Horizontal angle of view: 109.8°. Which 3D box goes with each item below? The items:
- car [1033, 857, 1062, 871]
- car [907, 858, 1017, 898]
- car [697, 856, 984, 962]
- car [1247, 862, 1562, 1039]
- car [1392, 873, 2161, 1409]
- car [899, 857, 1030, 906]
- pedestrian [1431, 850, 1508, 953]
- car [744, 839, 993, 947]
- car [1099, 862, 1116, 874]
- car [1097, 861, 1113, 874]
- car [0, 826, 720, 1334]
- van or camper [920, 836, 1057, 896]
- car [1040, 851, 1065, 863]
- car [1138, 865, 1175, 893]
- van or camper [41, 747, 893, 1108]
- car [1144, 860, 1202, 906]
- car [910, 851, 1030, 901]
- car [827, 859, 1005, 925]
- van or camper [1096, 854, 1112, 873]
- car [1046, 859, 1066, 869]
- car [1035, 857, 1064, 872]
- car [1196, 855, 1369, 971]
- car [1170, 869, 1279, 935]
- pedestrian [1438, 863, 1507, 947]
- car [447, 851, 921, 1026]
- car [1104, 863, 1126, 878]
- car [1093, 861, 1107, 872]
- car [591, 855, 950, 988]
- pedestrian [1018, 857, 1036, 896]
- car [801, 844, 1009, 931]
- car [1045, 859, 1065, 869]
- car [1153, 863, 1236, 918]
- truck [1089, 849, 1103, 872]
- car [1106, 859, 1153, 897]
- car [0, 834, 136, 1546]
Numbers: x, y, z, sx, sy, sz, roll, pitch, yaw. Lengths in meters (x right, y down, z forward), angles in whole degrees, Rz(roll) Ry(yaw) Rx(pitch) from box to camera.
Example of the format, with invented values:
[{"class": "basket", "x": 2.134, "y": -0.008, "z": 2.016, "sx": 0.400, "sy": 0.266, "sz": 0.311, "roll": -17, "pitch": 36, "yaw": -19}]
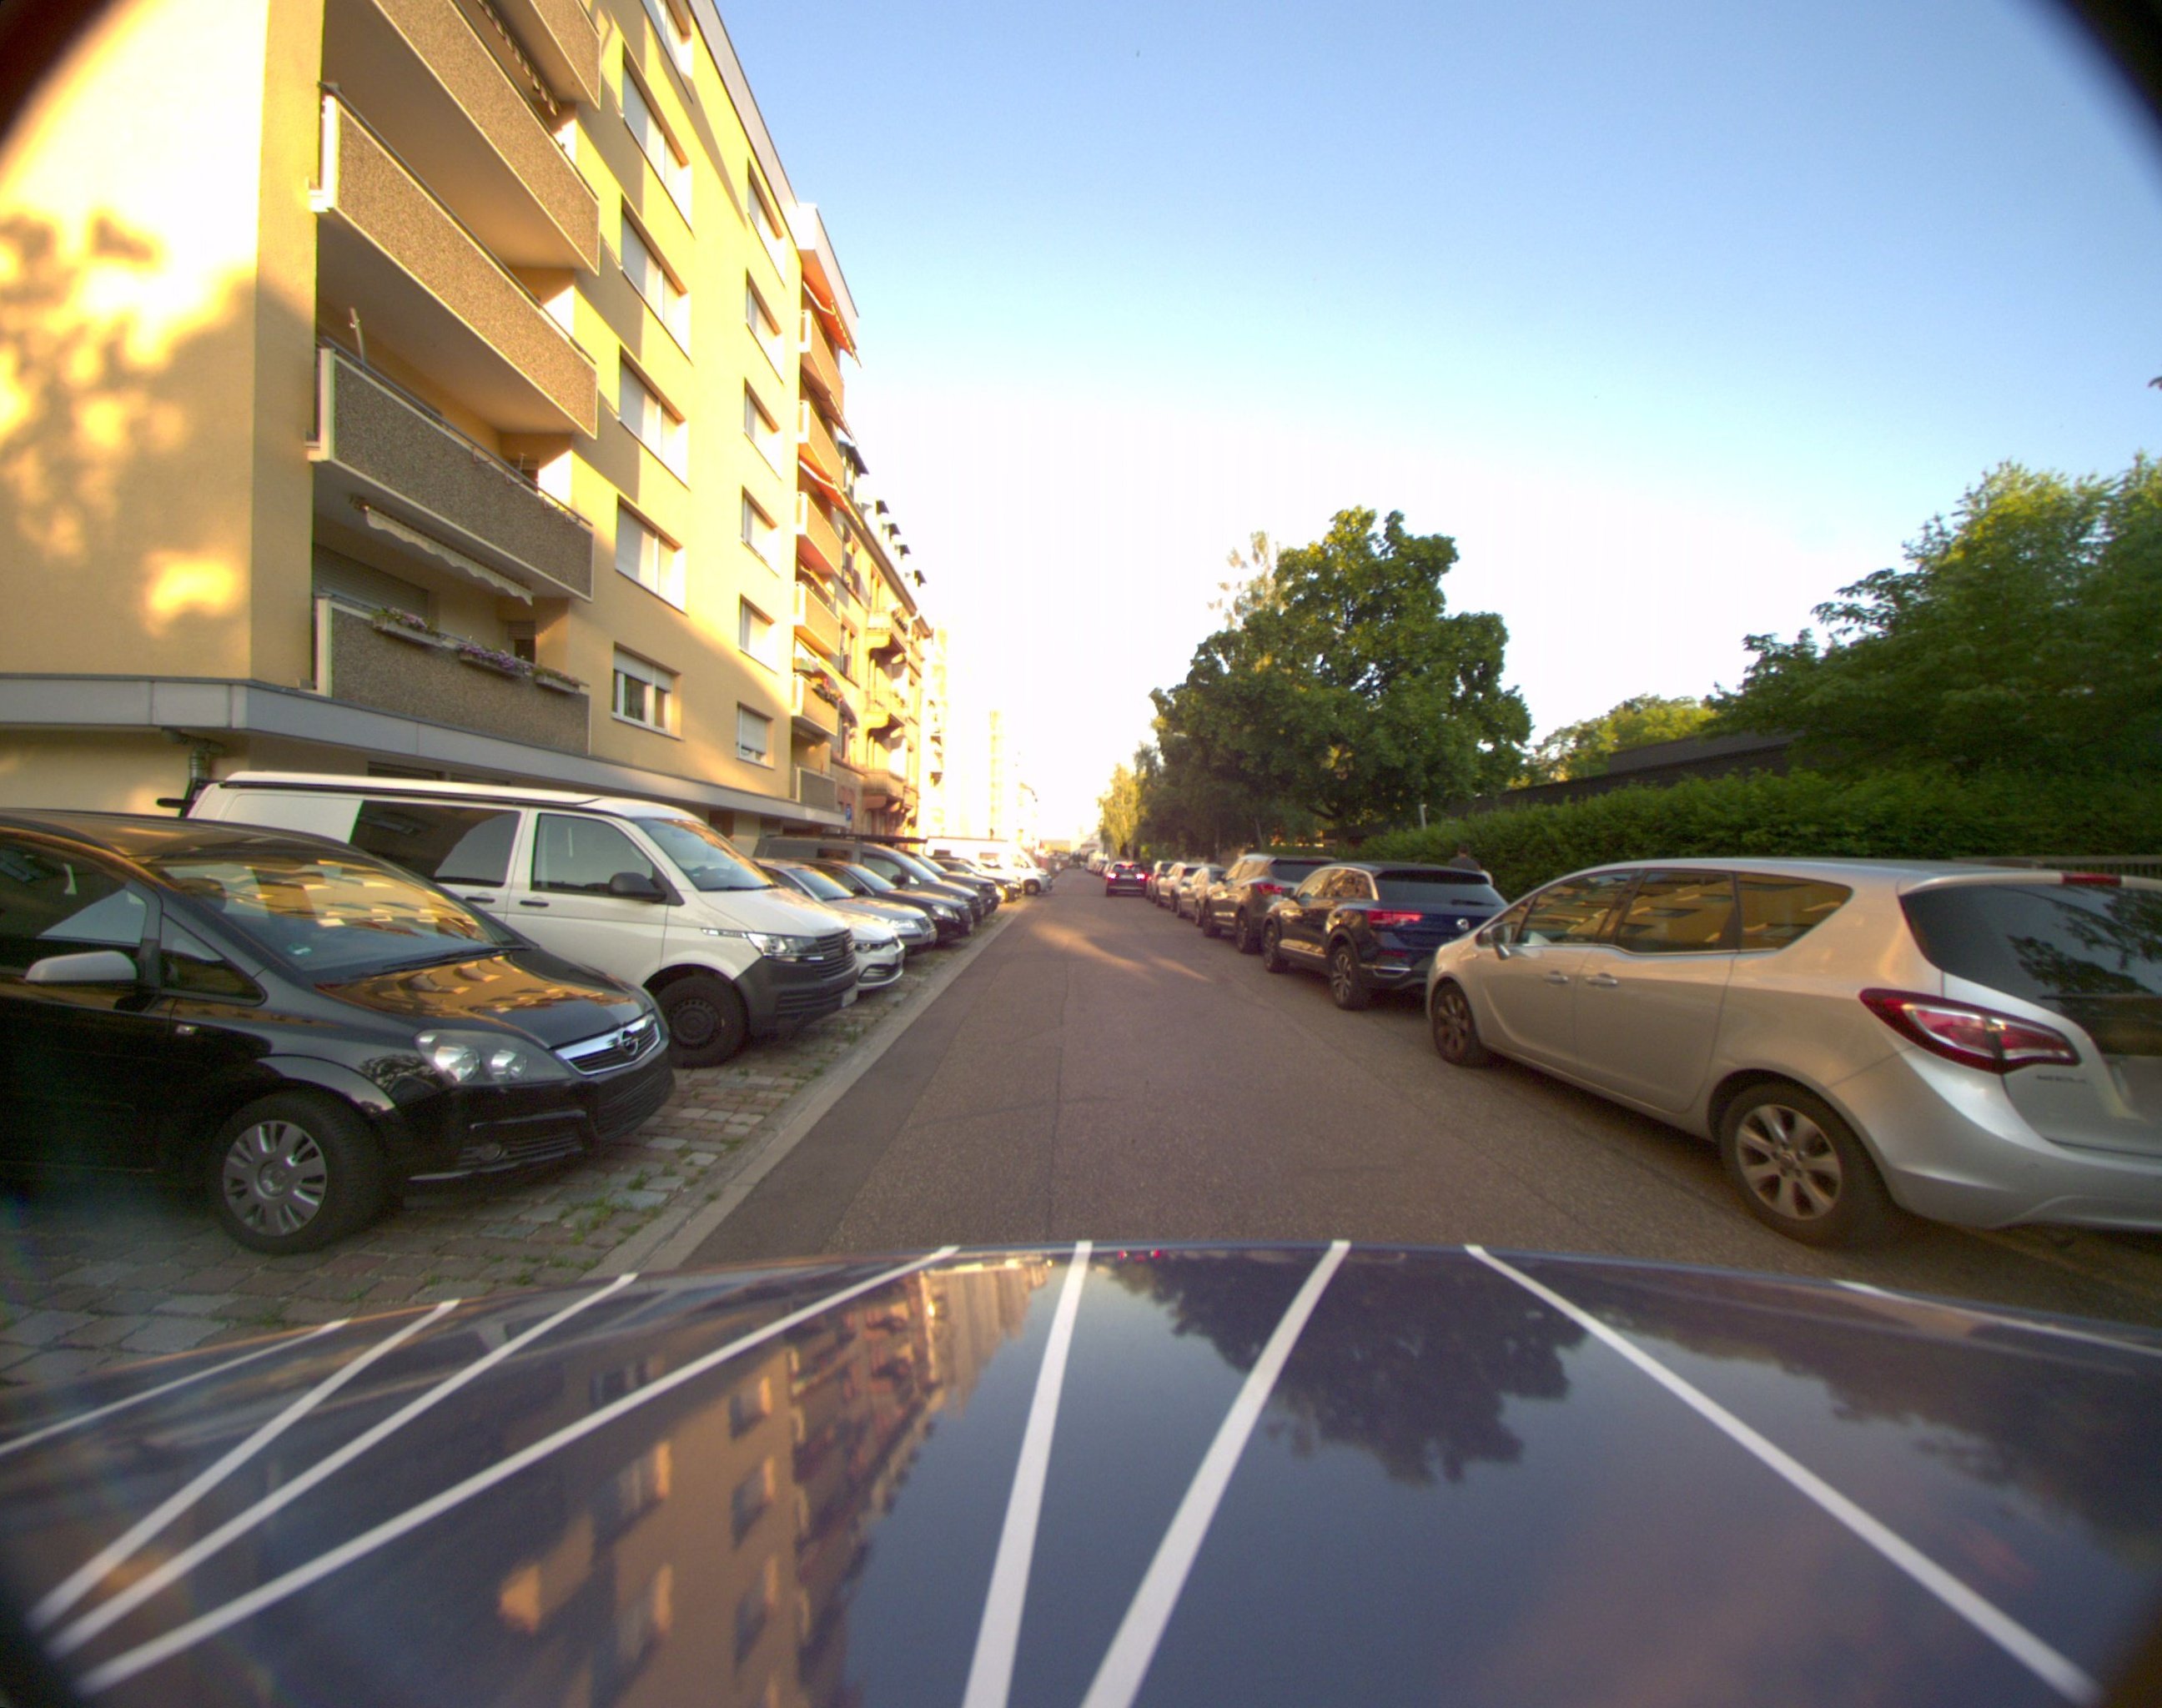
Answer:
[{"class": "car", "x": -4.828, "y": 1.464, "z": 109.780, "sx": 3.997, "sy": 2.002, "sz": 2.000, "roll": 0, "pitch": 0, "yaw": -1}, {"class": "car", "x": -5.071, "y": 1.015, "z": 32.713, "sx": 4.414, "sy": 1.610, "sz": 1.845, "roll": 0, "pitch": 2, "yaw": 1}, {"class": "car", "x": -4.045, "y": 0.911, "z": 13.334, "sx": 4.415, "sy": 1.554, "sz": 1.845, "roll": 2, "pitch": 2, "yaw": -1}, {"class": "car", "x": 3.410, "y": 0.908, "z": 9.001, "sx": 1.738, "sy": 1.558, "sz": 4.166, "roll": 2, "pitch": -1, "yaw": -3}, {"class": "car", "x": 3.634, "y": 0.945, "z": 4.408, "sx": 1.738, "sy": 1.558, "sz": 4.128, "roll": 2, "pitch": -1, "yaw": -3}, {"class": "car", "x": -4.164, "y": 0.964, "z": 27.618, "sx": 4.414, "sy": 1.545, "sz": 1.845, "roll": 2, "pitch": 2, "yaw": 0}, {"class": "pedestrian", "x": 6.840, "y": 0.815, "z": 13.410, "sx": 0.901, "sy": 1.722, "sz": 0.750, "roll": -2, "pitch": 0, "yaw": -2}, {"class": "car", "x": -4.282, "y": 0.750, "z": 15.873, "sx": 4.649, "sy": 1.970, "sz": 1.845, "roll": 2, "pitch": 2, "yaw": -1}, {"class": "car", "x": 3.158, "y": 1.668, "z": 90.368, "sx": 1.738, "sy": 1.358, "sz": 4.291, "roll": 2, "pitch": -1, "yaw": -1}, {"class": "car", "x": 3.073, "y": 1.703, "z": 96.257, "sx": 1.738, "sy": 1.502, "sz": 4.291, "roll": 2, "pitch": -1, "yaw": -1}, {"class": "car", "x": -4.315, "y": 0.793, "z": 3.544, "sx": 4.338, "sy": 1.652, "sz": 1.780, "roll": 3, "pitch": 2, "yaw": -3}, {"class": "van or camper", "x": -4.257, "y": 0.542, "z": 35.575, "sx": 6.075, "sy": 2.489, "sz": 2.050, "roll": 2, "pitch": 0, "yaw": 0}, {"class": "car", "x": -4.570, "y": 0.498, "z": 121.441, "sx": 3.997, "sy": 2.002, "sz": 2.000, "roll": 0, "pitch": 0, "yaw": -1}, {"class": "car", "x": 4.018, "y": 1.312, "z": 40.941, "sx": 1.624, "sy": 1.417, "sz": 3.415, "roll": 2, "pitch": -1, "yaw": 0}, {"class": "van or camper", "x": -4.429, "y": 0.531, "z": 6.249, "sx": 5.147, "sy": 2.155, "sz": 2.040, "roll": 4, "pitch": 0, "yaw": -2}, {"class": "car", "x": 3.529, "y": 1.068, "z": 29.752, "sx": 1.738, "sy": 1.621, "sz": 3.981, "roll": 2, "pitch": -1, "yaw": 0}, {"class": "car", "x": -4.356, "y": 0.855, "z": 30.186, "sx": 4.413, "sy": 1.738, "sz": 1.845, "roll": 2, "pitch": 2, "yaw": 3}, {"class": "car", "x": -4.442, "y": 1.005, "z": 20.912, "sx": 4.414, "sy": 1.545, "sz": 1.845, "roll": 2, "pitch": 2, "yaw": 2}, {"class": "van or camper", "x": 3.103, "y": 1.249, "z": 101.528, "sx": 1.825, "sy": 2.400, "sz": 4.291, "roll": 2, "pitch": 0, "yaw": -1}, {"class": "car", "x": -5.003, "y": 1.922, "z": 153.136, "sx": 3.997, "sy": 2.002, "sz": 2.000, "roll": 0, "pitch": 0, "yaw": -1}, {"class": "car", "x": -4.449, "y": 1.453, "z": 107.235, "sx": 3.997, "sy": 2.002, "sz": 2.000, "roll": 0, "pitch": 0, "yaw": -1}, {"class": "car", "x": 3.434, "y": 0.929, "z": 13.822, "sx": 1.738, "sy": 1.720, "sz": 4.322, "roll": 2, "pitch": -1, "yaw": -3}, {"class": "car", "x": 3.543, "y": 1.140, "z": 19.547, "sx": 1.738, "sy": 1.418, "sz": 4.286, "roll": 2, "pitch": -1, "yaw": -3}, {"class": "pedestrian", "x": 7.375, "y": 0.931, "z": 14.355, "sx": 0.750, "sy": 1.499, "sz": 0.902, "roll": -2, "pitch": 0, "yaw": -2}, {"class": "car", "x": -4.248, "y": 0.871, "z": 8.679, "sx": 4.415, "sy": 1.622, "sz": 1.845, "roll": 2, "pitch": 2, "yaw": -1}, {"class": "car", "x": 3.210, "y": 1.523, "z": 72.133, "sx": 1.738, "sy": 1.358, "sz": 4.291, "roll": 2, "pitch": -1, "yaw": -1}, {"class": "car", "x": 2.772, "y": 1.802, "z": 110.938, "sx": 1.738, "sy": 1.502, "sz": 4.291, "roll": 2, "pitch": -1, "yaw": -1}, {"class": "car", "x": -4.276, "y": 0.901, "z": 11.004, "sx": 4.415, "sy": 1.584, "sz": 1.845, "roll": 2, "pitch": 2, "yaw": -1}, {"class": "pedestrian", "x": -2.424, "y": 0.992, "z": 34.134, "sx": 0.748, "sy": 1.692, "sz": 0.558, "roll": -2, "pitch": 0, "yaw": -4}, {"class": "car", "x": -4.089, "y": 0.774, "z": 18.224, "sx": 4.524, "sy": 1.852, "sz": 1.845, "roll": 2, "pitch": 0, "yaw": -1}, {"class": "car", "x": -5.160, "y": 1.915, "z": 150.708, "sx": 3.997, "sy": 2.002, "sz": 2.000, "roll": 0, "pitch": 0, "yaw": -1}, {"class": "car", "x": 3.521, "y": 1.096, "z": 24.371, "sx": 1.764, "sy": 1.533, "sz": 4.279, "roll": 2, "pitch": -1, "yaw": -3}, {"class": "truck", "x": 2.586, "y": 1.139, "z": 128.884, "sx": 2.183, "sy": 3.860, "sz": 4.926, "roll": 0, "pitch": 0, "yaw": 0}, {"class": "car", "x": 2.311, "y": 1.074, "z": 35.112, "sx": 1.736, "sy": 1.621, "sz": 4.129, "roll": 2, "pitch": -1, "yaw": 9}, {"class": "car", "x": -4.660, "y": 0.693, "z": 0.971, "sx": 4.416, "sy": 1.652, "sz": 1.845, "roll": 3, "pitch": 2, "yaw": -3}]
